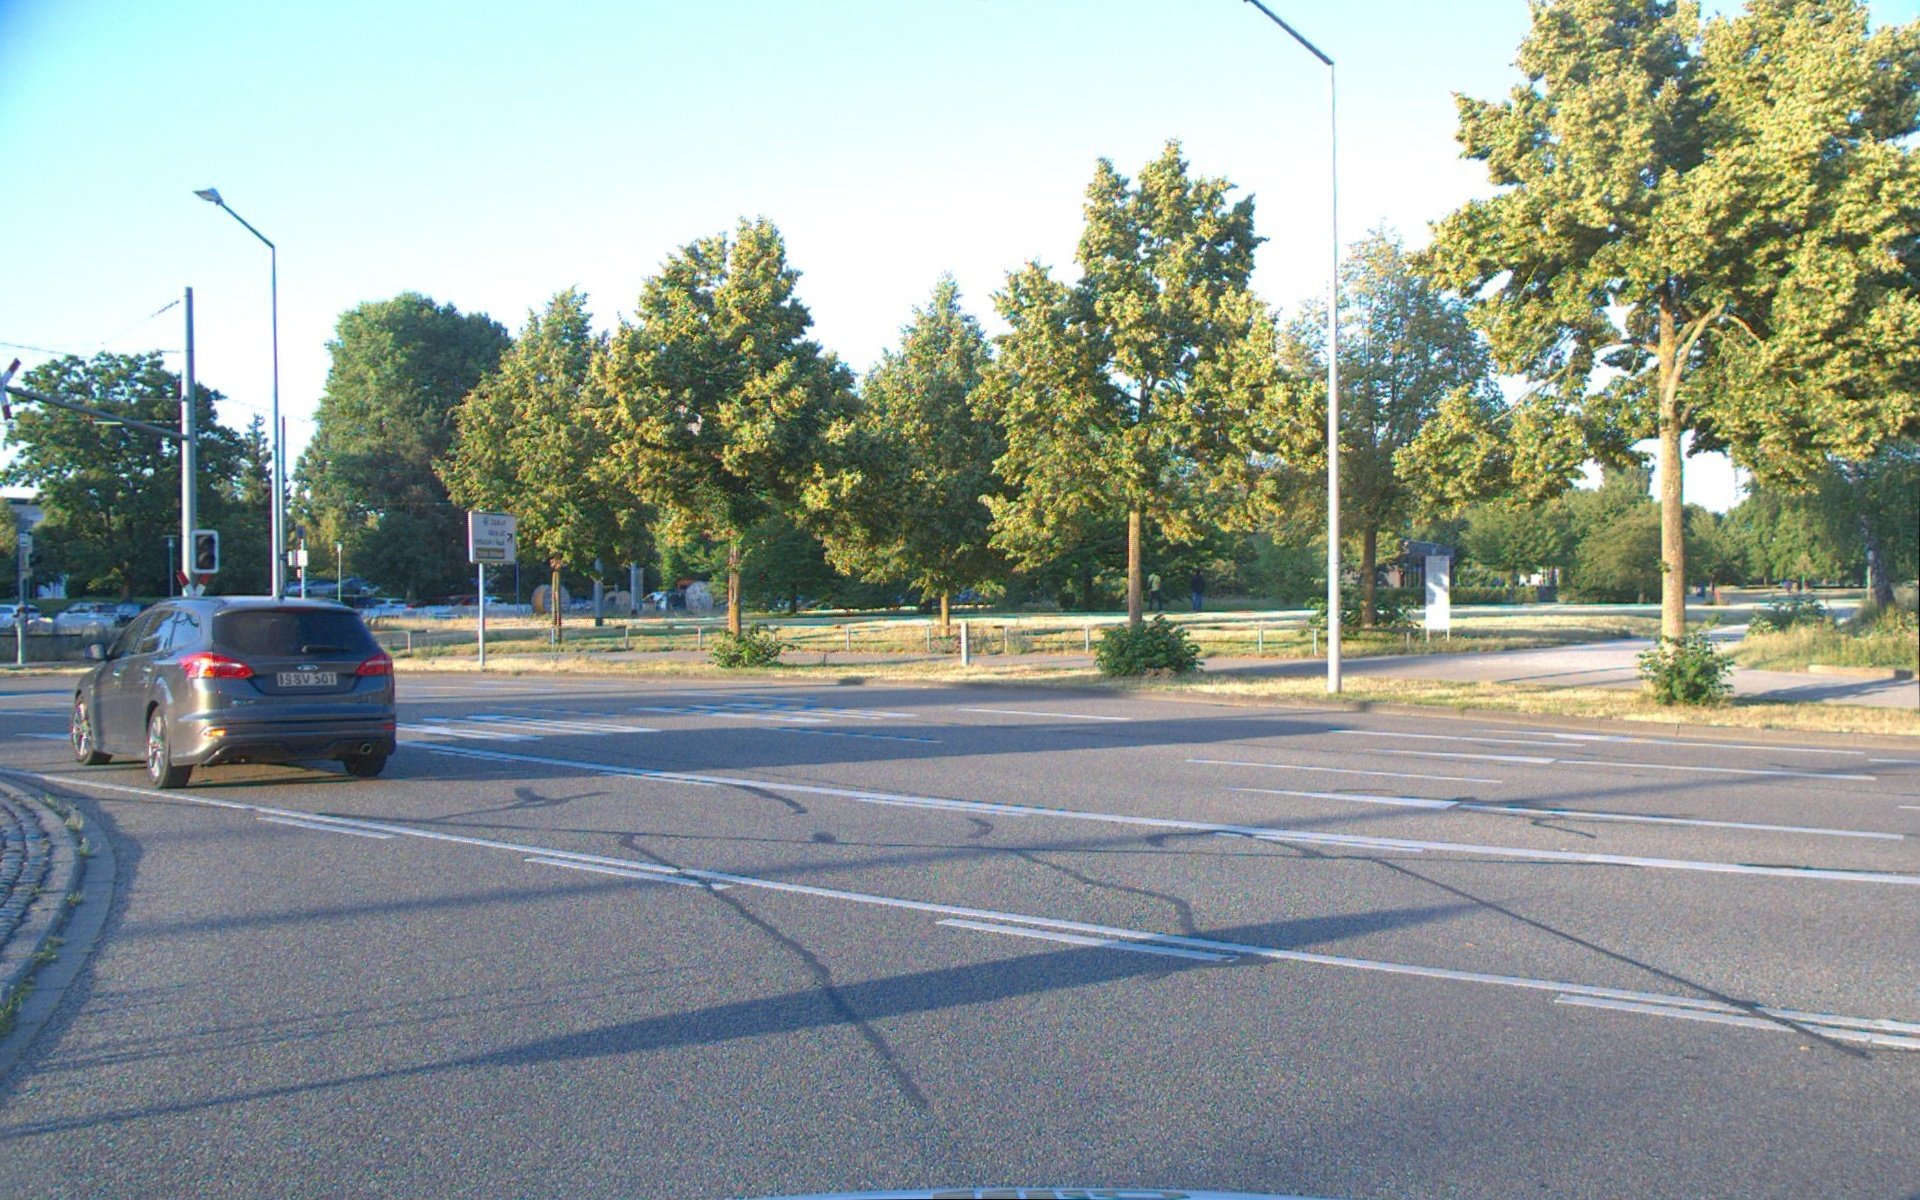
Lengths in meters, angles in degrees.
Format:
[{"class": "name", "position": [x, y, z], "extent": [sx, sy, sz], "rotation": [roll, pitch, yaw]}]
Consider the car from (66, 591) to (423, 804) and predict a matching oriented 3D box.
[{"class": "car", "position": [-6.187, 0.690, 14.044], "extent": [1.735, 1.492, 4.076], "rotation": [-2, 1, -39]}]

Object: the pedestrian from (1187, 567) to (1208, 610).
[{"class": "pedestrian", "position": [9.366, -0.454, 65.176], "extent": [0.613, 1.655, 0.524], "rotation": [-1, 0, -35]}]

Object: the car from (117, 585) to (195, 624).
[{"class": "car", "position": [-45.094, 0.266, 92.744], "extent": [3.910, 2.135, 1.998], "rotation": [0, 1, 27]}]

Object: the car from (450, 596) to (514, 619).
[{"class": "car", "position": [-33.358, 0.525, 115.432], "extent": [3.909, 1.578, 1.998], "rotation": [0, 1, 26]}]

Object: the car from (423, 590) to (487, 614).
[{"class": "car", "position": [-34.616, 0.118, 113.445], "extent": [3.909, 1.578, 1.998], "rotation": [0, 1, 26]}]

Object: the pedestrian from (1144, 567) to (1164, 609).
[{"class": "pedestrian", "position": [7.690, -0.462, 65.514], "extent": [0.571, 1.655, 0.529], "rotation": [-1, 0, -24]}]

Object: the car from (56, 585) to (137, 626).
[{"class": "car", "position": [-46.937, 0.298, 89.932], "extent": [3.910, 2.135, 1.998], "rotation": [0, 1, 27]}]

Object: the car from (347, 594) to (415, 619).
[{"class": "car", "position": [-37.480, 0.428, 107.025], "extent": [3.909, 1.578, 1.998], "rotation": [0, 1, 26]}]
